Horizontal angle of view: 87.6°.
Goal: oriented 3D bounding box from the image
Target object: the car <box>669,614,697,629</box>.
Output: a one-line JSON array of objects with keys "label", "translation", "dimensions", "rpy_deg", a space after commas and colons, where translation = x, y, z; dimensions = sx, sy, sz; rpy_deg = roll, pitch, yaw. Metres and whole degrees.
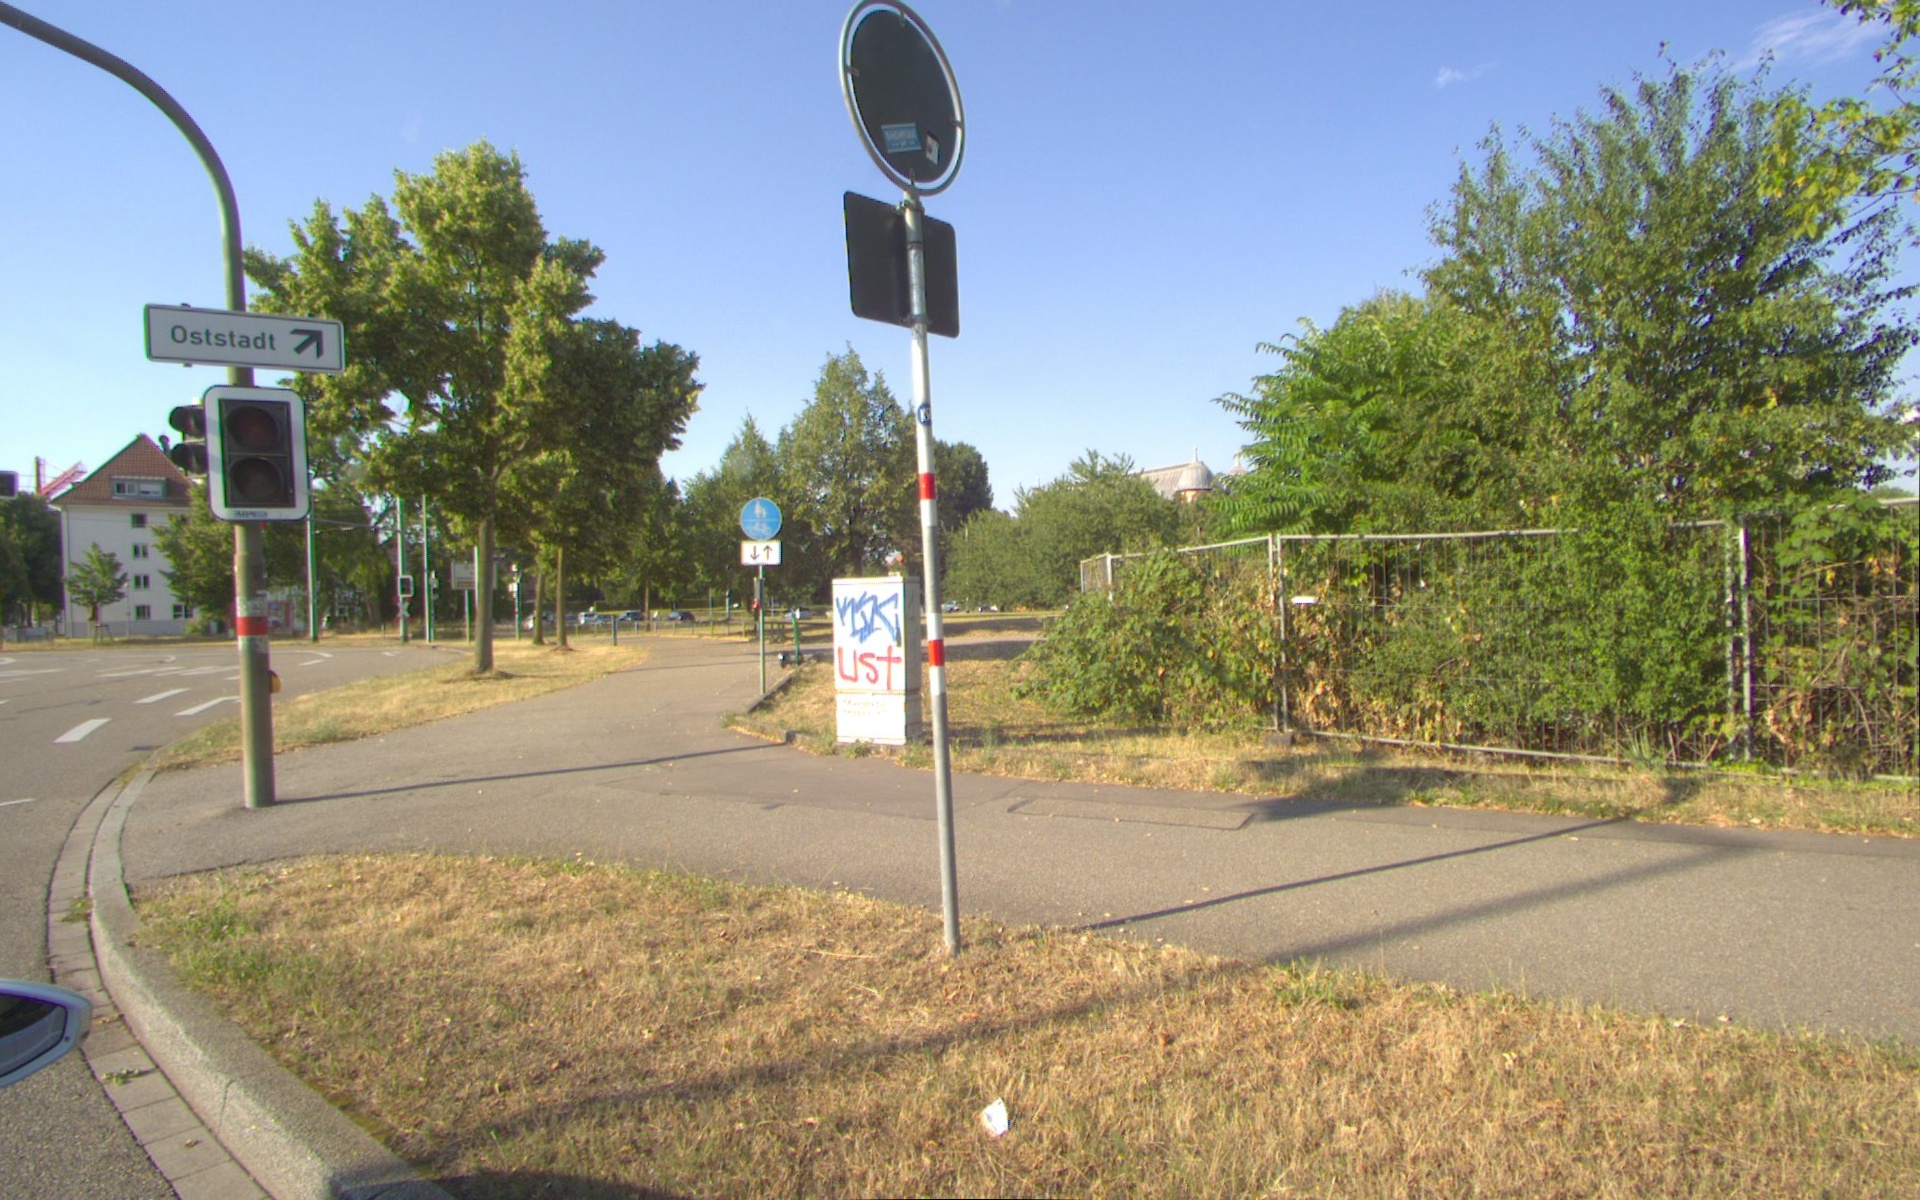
[{"label": "car", "translation": [-25.705, 2.020, 92.888], "dimensions": [1.583, 1.327, 3.950], "rpy_deg": [-1, -1, -29]}]

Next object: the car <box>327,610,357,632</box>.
[{"label": "car", "translation": [-48.091, 1.643, 77.984], "dimensions": [1.751, 1.639, 3.950], "rpy_deg": [-1, 0, -29]}]

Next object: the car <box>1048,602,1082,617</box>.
[{"label": "car", "translation": [12.326, 1.118, 117.841], "dimensions": [1.803, 1.589, 3.976], "rpy_deg": [-1, 0, -33]}]

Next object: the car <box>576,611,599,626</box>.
[{"label": "car", "translation": [-37.081, 1.892, 99.692], "dimensions": [1.583, 1.420, 3.950], "rpy_deg": [-1, 0, -29]}]

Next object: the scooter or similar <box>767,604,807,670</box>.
[{"label": "scooter or similar", "translation": [-3.315, 0.693, 19.278], "dimensions": [0.336, 1.175, 1.169], "rpy_deg": [-4, 2, 8]}]

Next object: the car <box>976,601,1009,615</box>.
[{"label": "car", "translation": [3.679, 0.916, 113.263], "dimensions": [1.803, 1.421, 3.976], "rpy_deg": [-1, -1, -33]}]

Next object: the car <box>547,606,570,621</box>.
[{"label": "car", "translation": [-39.258, 1.344, 97.894], "dimensions": [1.583, 1.420, 3.950], "rpy_deg": [-1, 0, -29]}]

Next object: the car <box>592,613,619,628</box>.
[{"label": "car", "translation": [-31.750, 1.836, 89.613], "dimensions": [1.583, 1.237, 3.950], "rpy_deg": [-1, -1, -29]}]

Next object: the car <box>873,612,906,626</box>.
[{"label": "car", "translation": [-7.458, 2.002, 105.505], "dimensions": [1.803, 1.421, 3.976], "rpy_deg": [-1, -1, -33]}]

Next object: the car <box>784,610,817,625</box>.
[{"label": "car", "translation": [-15.993, 1.778, 100.060], "dimensions": [1.803, 1.421, 3.976], "rpy_deg": [-1, -1, -33]}]

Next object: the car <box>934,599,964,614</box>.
[{"label": "car", "translation": [-1.386, 0.776, 123.188], "dimensions": [1.803, 1.694, 3.976], "rpy_deg": [-1, 0, -33]}]

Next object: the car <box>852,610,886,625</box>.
[{"label": "car", "translation": [-9.519, 1.812, 104.235], "dimensions": [1.803, 1.421, 3.976], "rpy_deg": [-2, 0, -33]}]

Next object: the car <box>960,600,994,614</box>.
[{"label": "car", "translation": [1.863, 0.814, 111.657], "dimensions": [1.803, 1.421, 3.976], "rpy_deg": [-1, -1, -33]}]

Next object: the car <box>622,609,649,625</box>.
[{"label": "car", "translation": [-29.382, 1.540, 90.567], "dimensions": [1.583, 1.420, 3.950], "rpy_deg": [-1, 0, -29]}]

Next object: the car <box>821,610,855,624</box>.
[{"label": "car", "translation": [-12.567, 1.767, 103.037], "dimensions": [1.803, 1.421, 3.976], "rpy_deg": [-1, -1, -33]}]

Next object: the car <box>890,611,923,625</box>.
[{"label": "car", "translation": [-5.701, 1.944, 106.793], "dimensions": [1.803, 1.421, 3.976], "rpy_deg": [-1, -1, -33]}]

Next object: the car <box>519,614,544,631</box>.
[{"label": "car", "translation": [-36.972, 1.947, 86.370], "dimensions": [1.583, 1.420, 3.950], "rpy_deg": [-1, 0, -29]}]
